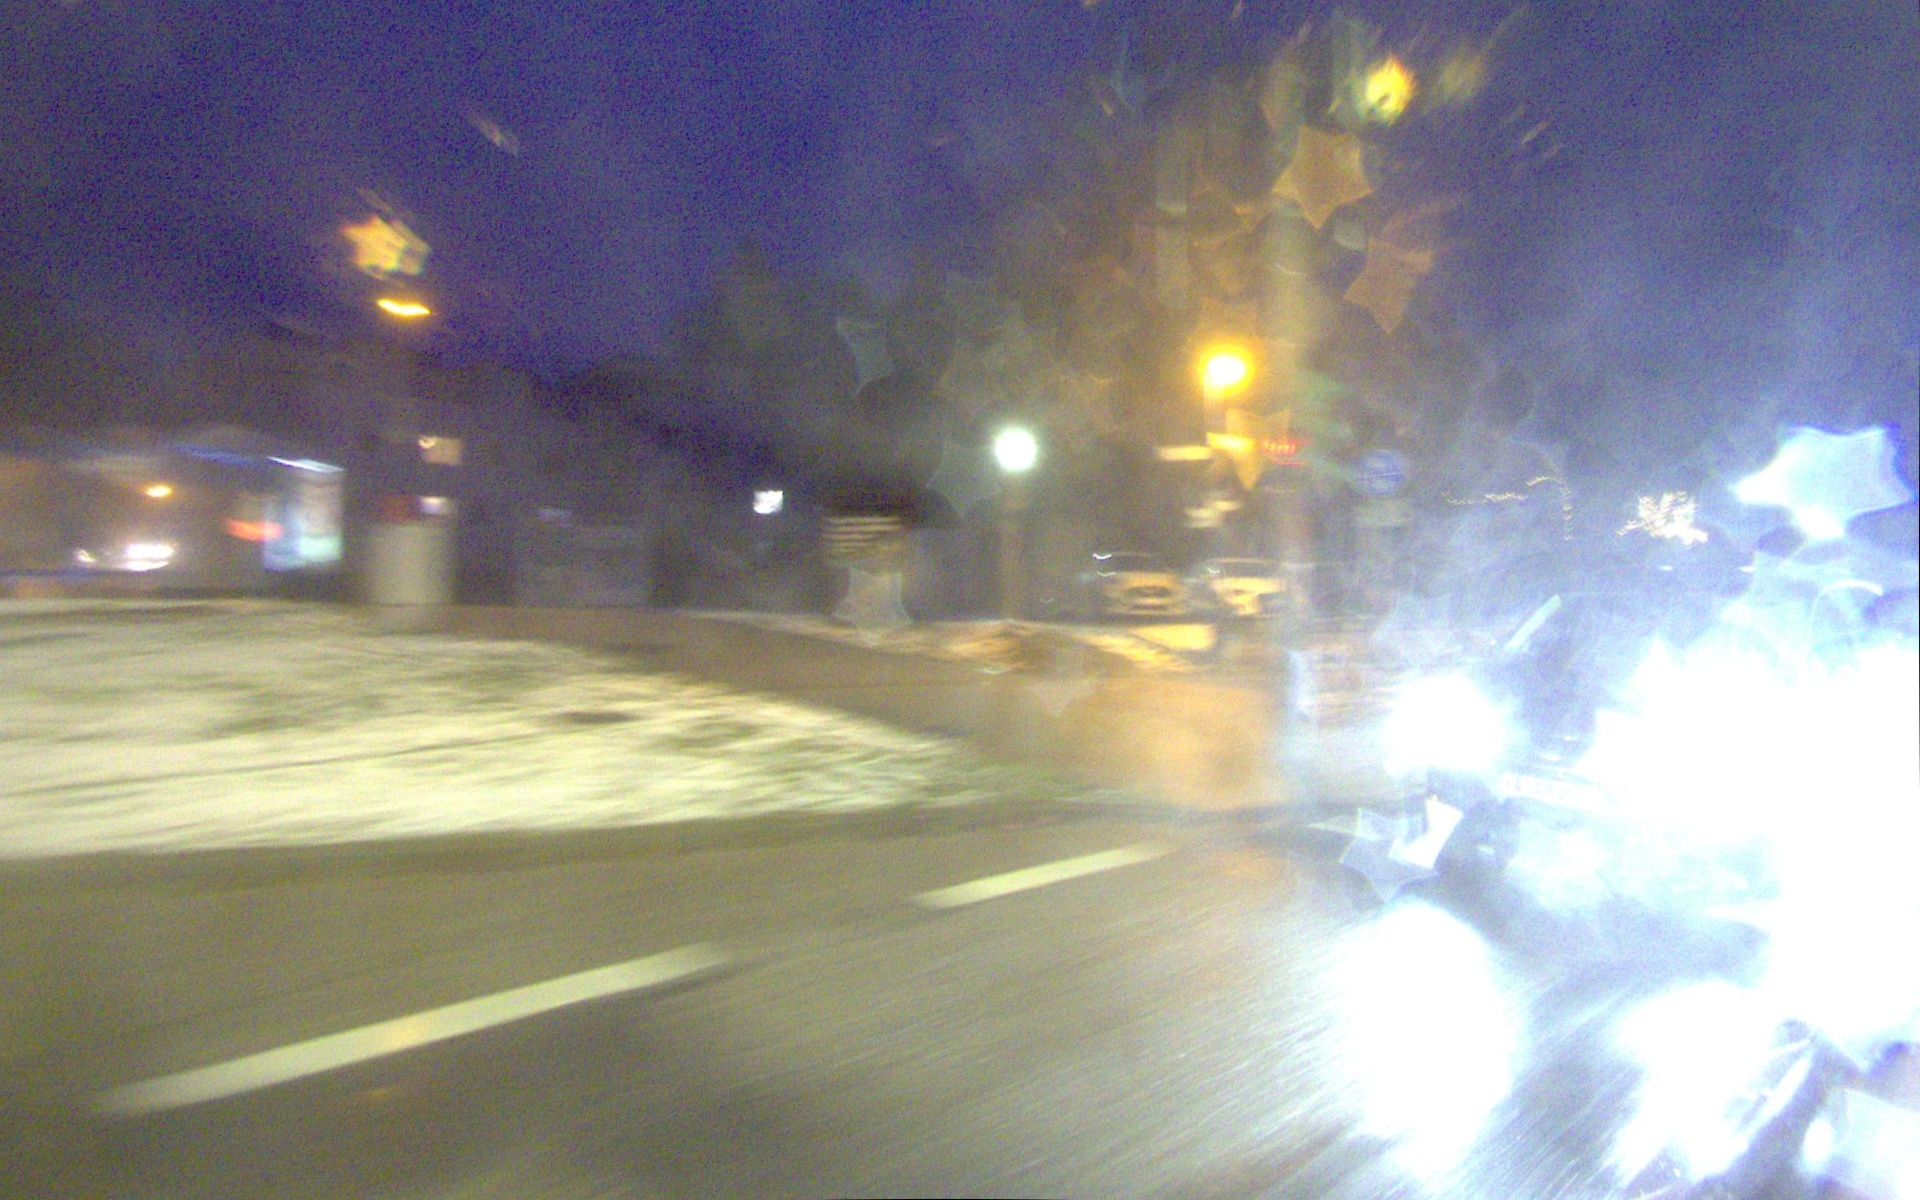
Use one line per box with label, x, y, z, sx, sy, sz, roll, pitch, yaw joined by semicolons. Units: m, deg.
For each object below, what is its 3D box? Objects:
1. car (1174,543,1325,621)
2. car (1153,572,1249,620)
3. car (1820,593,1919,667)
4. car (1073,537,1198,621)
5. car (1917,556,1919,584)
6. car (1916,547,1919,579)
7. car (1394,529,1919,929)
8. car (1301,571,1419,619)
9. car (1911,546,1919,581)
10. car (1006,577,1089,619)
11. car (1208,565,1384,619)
car;5.996;-0.353;21.511;1.816;1.478;4.343;0;0;-2
car;7.780;-0.132;33.083;1.807;1.448;4.004;0;0;-6
car;20.647;0.615;22.021;4.154;1.460;1.792;1;1;-32
car;3.555;-0.415;21.189;1.798;1.594;3.889;0;0;-2
car;74.113;-2.291;77.085;1.728;2.039;3.644;0;0;42
car;77.966;-2.970;81.048;1.929;2.451;4.190;0;0;42
car;4.980;0.551;6.701;4.852;1.757;1.839;0;0;-39
car;13.208;-0.176;33.686;1.727;1.506;3.955;0;0;-12
car;81.549;-3.077;85.275;1.929;2.810;4.190;0;0;42
car;2.803;-0.083;33.325;1.625;1.300;4.007;0;0;-12
car;9.735;-0.245;29.422;4.608;1.502;1.729;0;0;-12
